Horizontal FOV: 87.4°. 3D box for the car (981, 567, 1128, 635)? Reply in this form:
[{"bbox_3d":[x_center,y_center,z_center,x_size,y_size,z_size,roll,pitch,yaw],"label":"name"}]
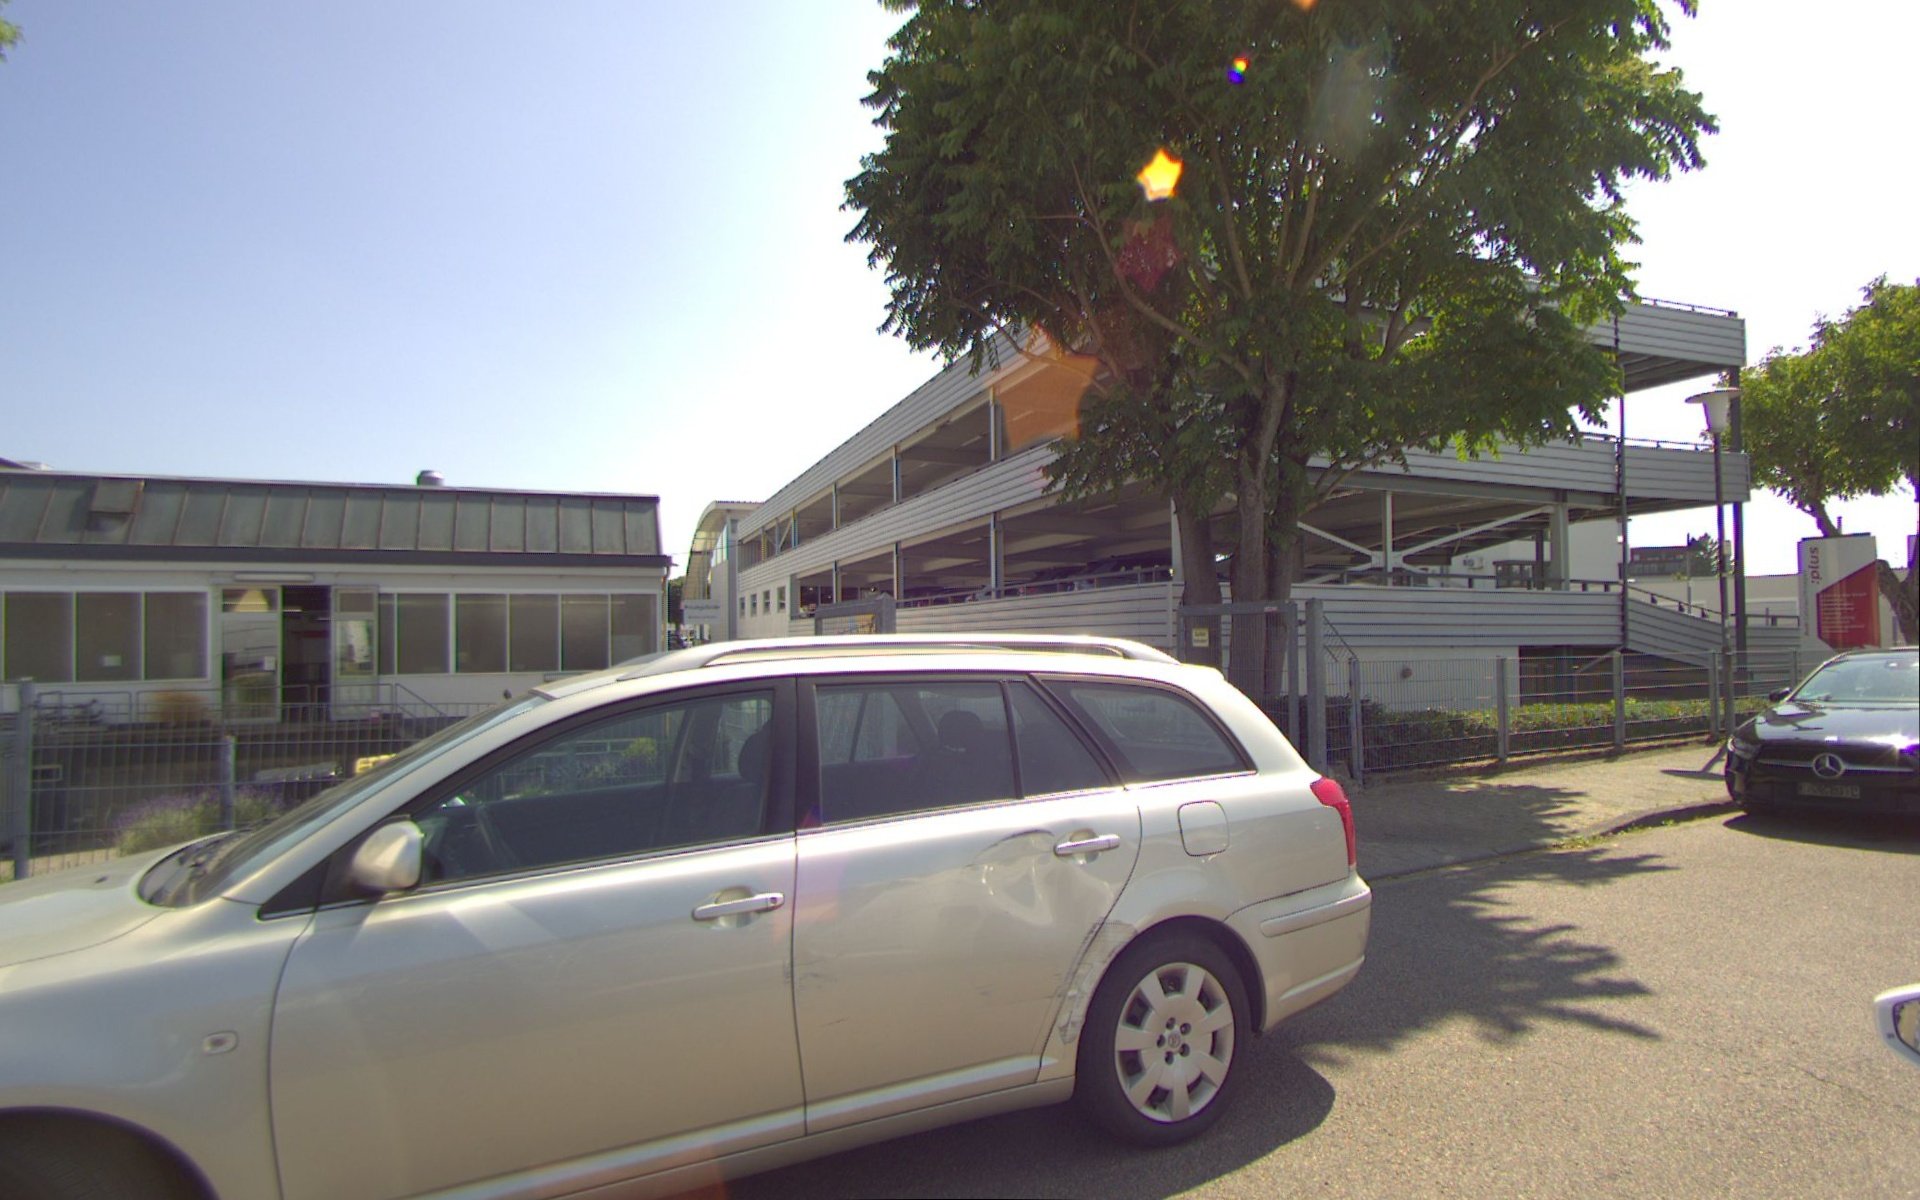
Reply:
[{"bbox_3d":[2.608,0.041,28.011,3.920,1.693,1.819,2,-2,4],"label":"car"}]

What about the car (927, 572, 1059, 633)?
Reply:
[{"bbox_3d":[1.044,0.092,31.151,3.920,1.693,1.819,2,-2,4],"label":"car"}]

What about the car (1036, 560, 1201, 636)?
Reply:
[{"bbox_3d":[3.895,-0.020,25.219,3.920,1.693,1.819,2,-2,4],"label":"car"}]

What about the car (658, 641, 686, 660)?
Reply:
[{"bbox_3d":[-23.631,4.115,82.421,1.922,1.550,4.322,0,-2,-20],"label":"car"}]

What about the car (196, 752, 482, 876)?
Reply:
[{"bbox_3d":[-10.373,3.545,17.181,3.948,1.461,1.987,1,-2,-27],"label":"car"}]

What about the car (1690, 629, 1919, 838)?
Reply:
[{"bbox_3d":[8.285,1.015,8.684,4.066,1.482,1.697,1,-4,-31],"label":"car"}]

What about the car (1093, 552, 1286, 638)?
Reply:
[{"bbox_3d":[5.019,-0.078,22.399,3.920,1.693,1.819,2,-2,4],"label":"car"}]

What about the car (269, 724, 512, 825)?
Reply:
[{"bbox_3d":[-11.000,3.341,19.728,3.948,1.461,1.987,1,-2,-27],"label":"car"}]

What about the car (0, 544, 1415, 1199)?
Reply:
[{"bbox_3d":[-0.772,0.736,3.208,4.253,1.541,1.736,1,-4,-27],"label":"car"}]
